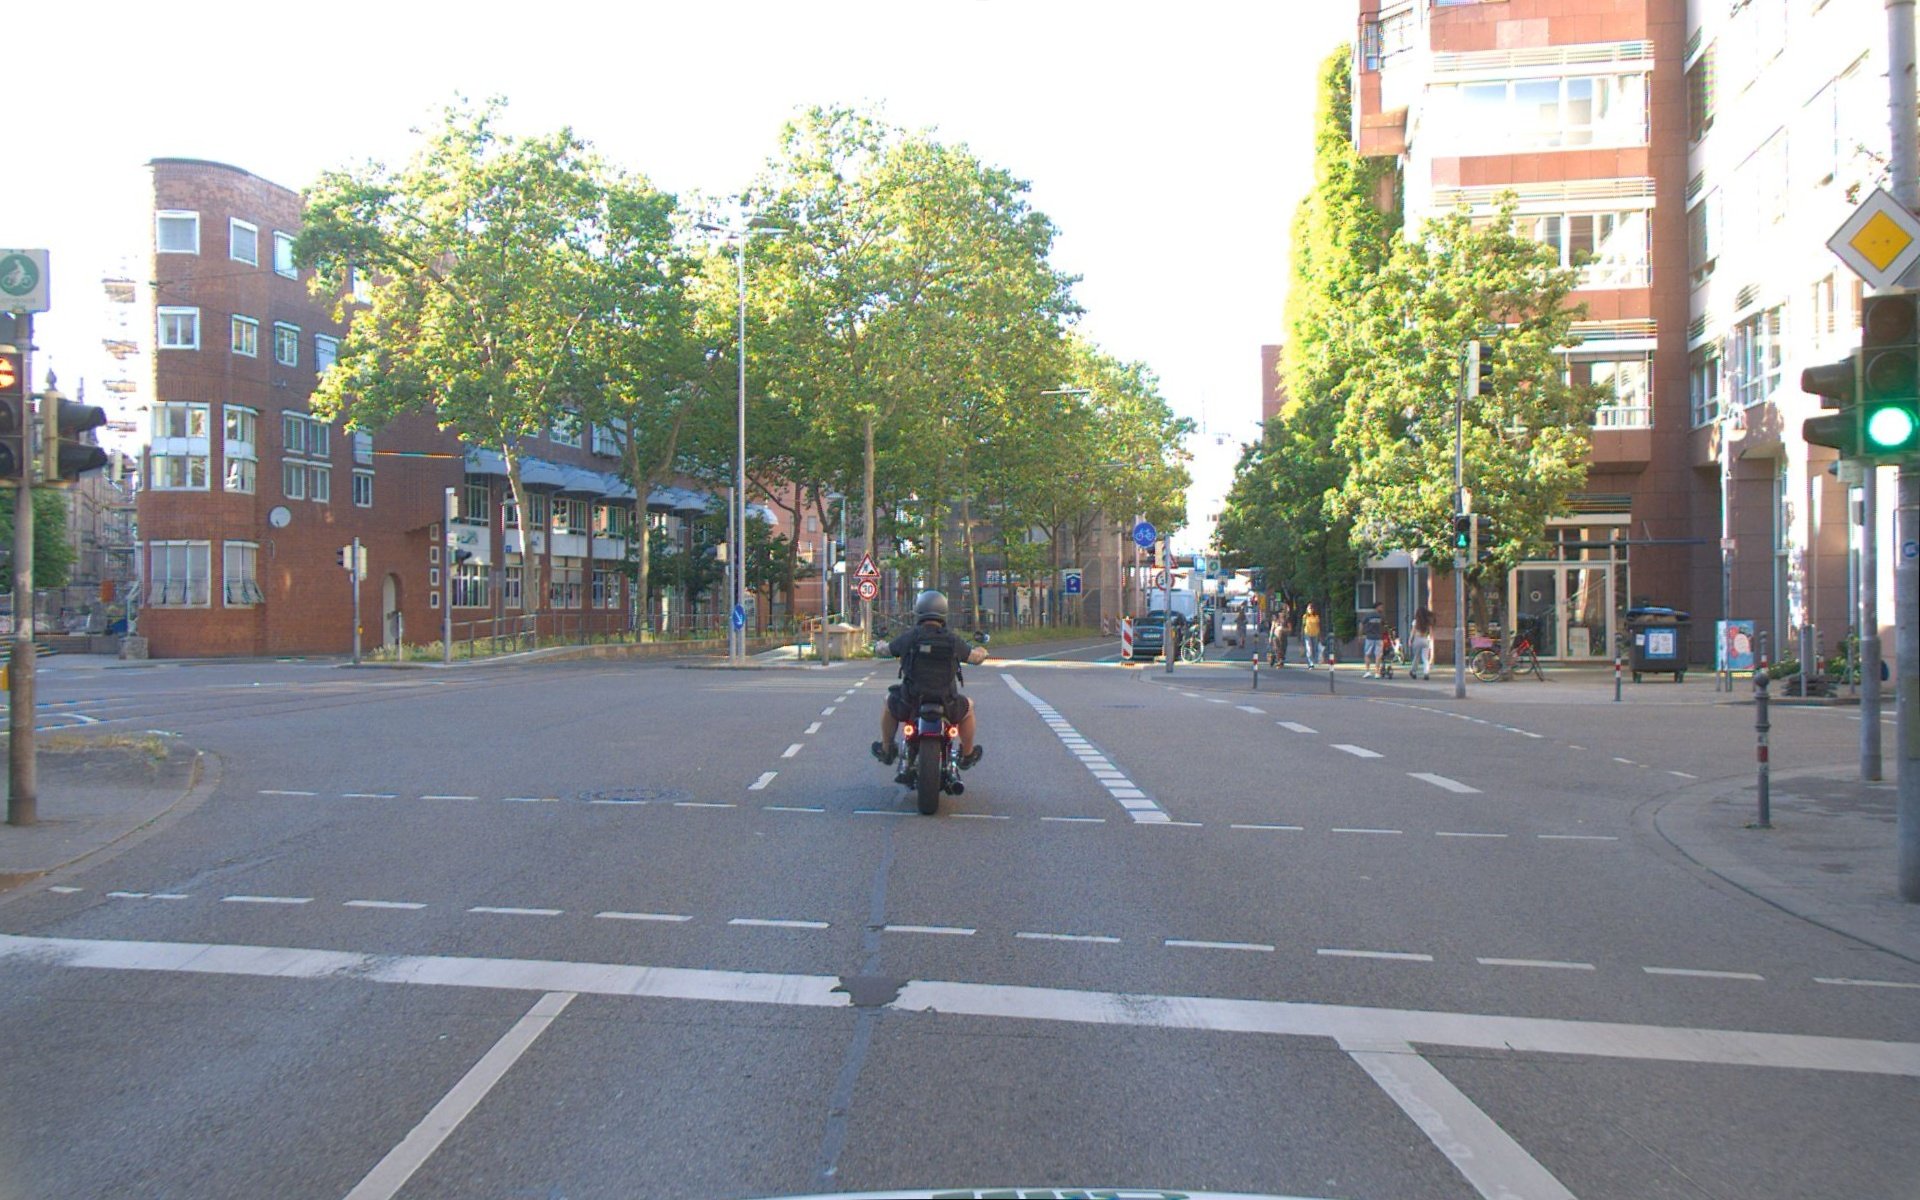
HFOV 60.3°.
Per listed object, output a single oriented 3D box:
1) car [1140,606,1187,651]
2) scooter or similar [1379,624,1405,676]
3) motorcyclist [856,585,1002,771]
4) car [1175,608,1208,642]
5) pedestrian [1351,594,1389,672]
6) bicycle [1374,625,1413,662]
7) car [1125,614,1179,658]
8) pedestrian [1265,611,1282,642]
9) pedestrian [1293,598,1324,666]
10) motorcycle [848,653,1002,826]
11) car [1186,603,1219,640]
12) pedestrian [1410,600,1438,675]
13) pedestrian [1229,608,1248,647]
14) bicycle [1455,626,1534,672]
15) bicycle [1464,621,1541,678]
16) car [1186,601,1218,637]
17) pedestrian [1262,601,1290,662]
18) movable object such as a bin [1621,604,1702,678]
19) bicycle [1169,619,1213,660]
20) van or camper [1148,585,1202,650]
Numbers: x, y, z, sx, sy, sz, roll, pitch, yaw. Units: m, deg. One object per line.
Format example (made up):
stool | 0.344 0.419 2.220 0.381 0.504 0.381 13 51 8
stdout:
car | 7.742 1.048 62.673 1.585 1.648 4.489 0 0 9
scooter or similar | 10.078 1.152 38.624 0.386 1.178 1.250 0 0 6
motorcyclist | -0.212 0.555 12.180 0.990 1.285 0.774 2 0 2
car | 11.510 1.244 82.237 1.585 1.638 3.777 0 0 8
pedestrian | 9.533 0.770 38.456 0.769 1.794 0.610 0 -1 5
bicycle | 11.799 1.170 45.066 0.721 0.956 1.753 0 0 4
car | 6.137 1.131 52.699 1.585 1.325 4.315 0 0 8
pedestrian | 14.979 1.279 79.138 0.749 1.471 0.781 1 -1 8
pedestrian | 9.153 0.839 43.445 0.685 1.764 0.768 0 -1 3
motorcycle | -0.215 0.981 12.276 0.996 1.116 2.008 0 0 3
car | 13.594 1.190 92.608 1.796 2.049 4.391 0 0 9
pedestrian | 10.659 0.859 38.020 0.449 1.702 0.680 0 -1 0
pedestrian | 11.818 1.168 70.174 0.747 1.673 0.547 0 -1 2
bicycle | 12.876 1.177 39.875 1.712 1.071 0.738 0 0 27
bicycle | 12.066 1.099 36.810 1.534 1.248 0.578 0 -1 5
car | 14.467 1.125 98.694 1.796 2.049 4.391 0 0 9
pedestrian | 8.364 0.832 43.768 0.630 1.606 0.748 0 -1 3
movable object such as a bin | 14.518 0.831 34.252 1.380 1.508 0.872 0 -1 11
bicycle | 6.392 1.082 45.797 0.723 1.071 1.748 0 0 -9
van or camper | 9.057 0.736 69.356 2.005 2.585 5.777 0 0 10
